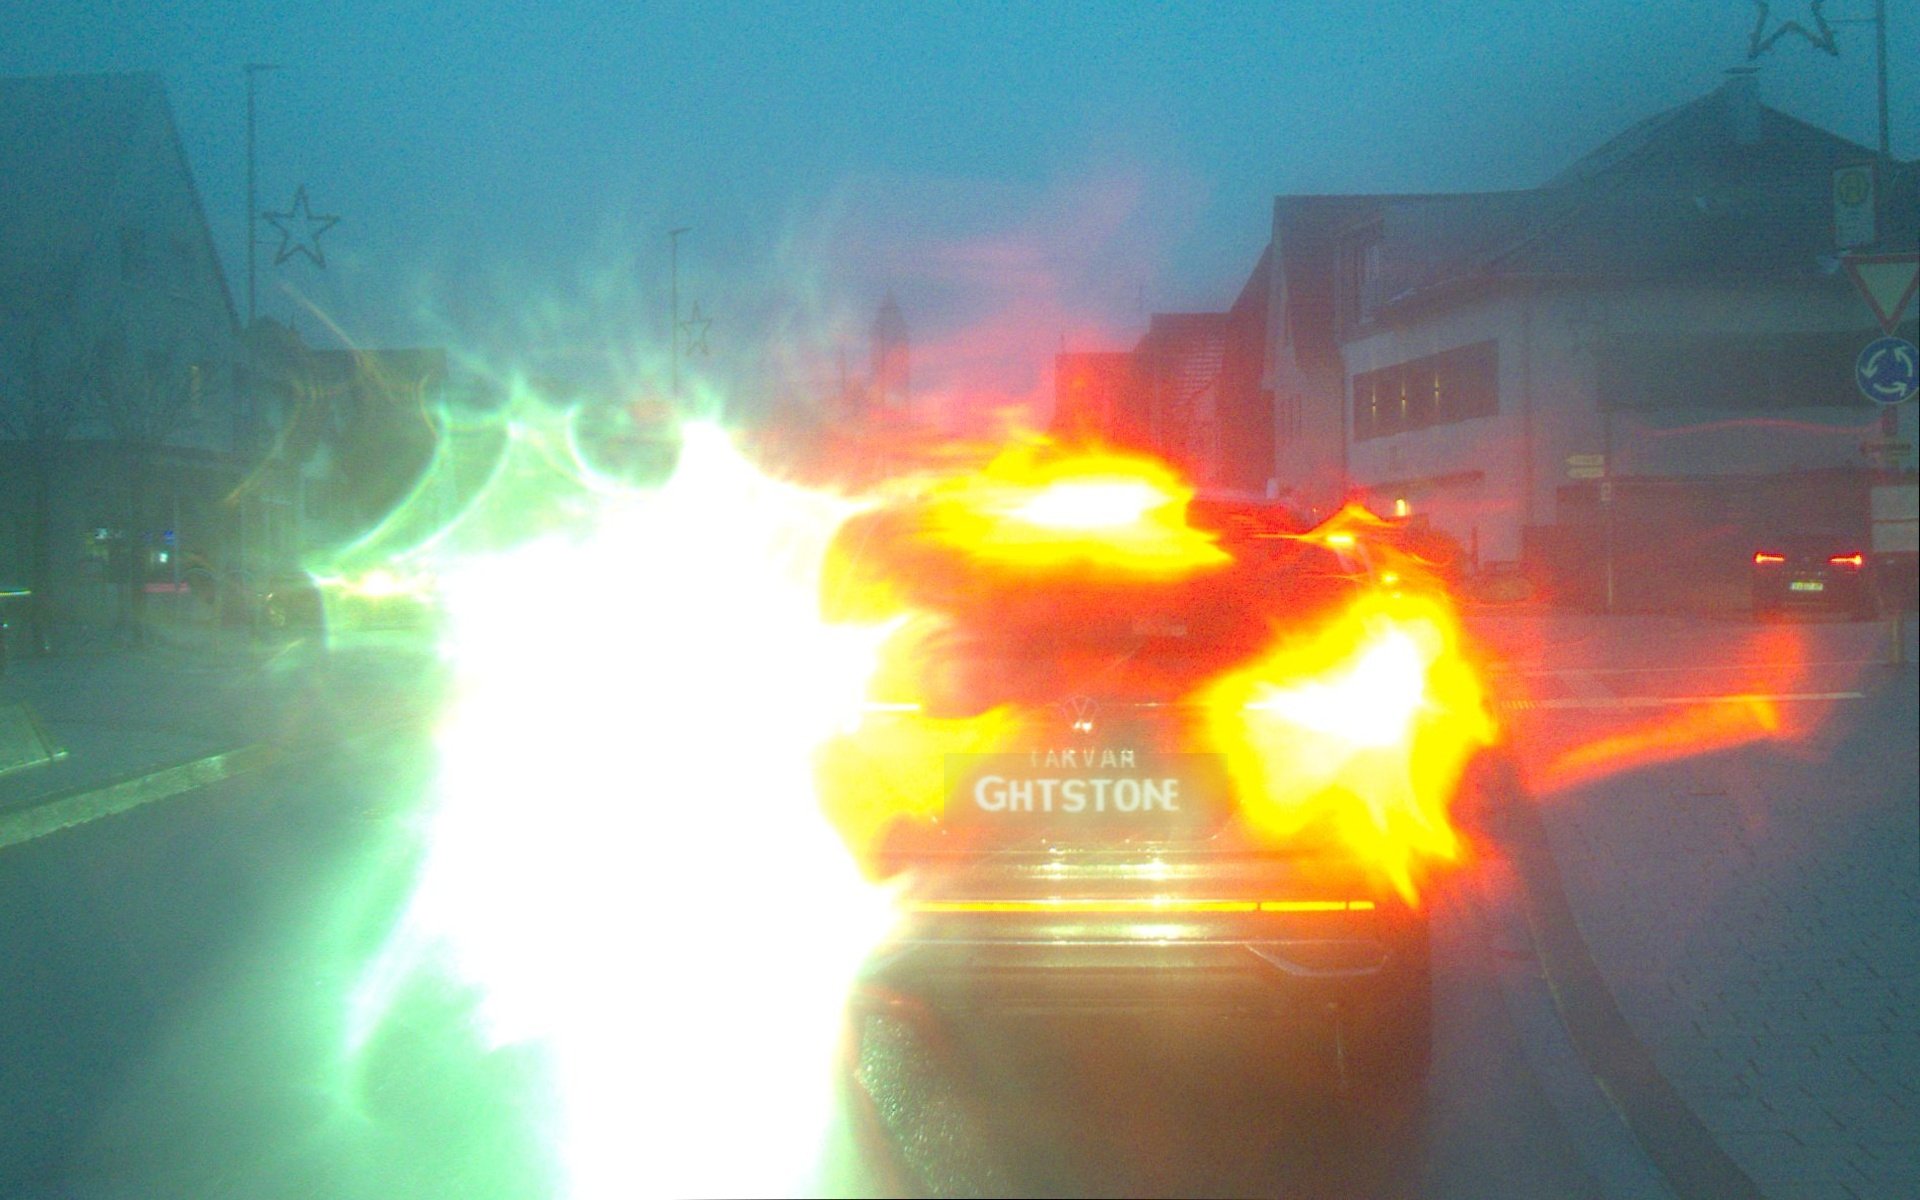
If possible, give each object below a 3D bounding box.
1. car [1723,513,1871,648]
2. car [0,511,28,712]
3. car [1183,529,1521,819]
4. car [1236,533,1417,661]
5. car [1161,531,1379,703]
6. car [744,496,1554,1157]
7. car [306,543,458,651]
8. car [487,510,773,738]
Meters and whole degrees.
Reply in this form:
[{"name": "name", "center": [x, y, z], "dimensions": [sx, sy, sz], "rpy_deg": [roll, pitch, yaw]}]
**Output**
[{"name": "car", "center": [13.801, -0.362, 56.664], "dimensions": [2.159, 1.984, 4.497], "rpy_deg": [-4, 1, 14]}, {"name": "car", "center": [-10.676, 0.106, 34.429], "dimensions": [2.037, 1.919, 4.058], "rpy_deg": [-1, 1, -23]}, {"name": "car", "center": [2.141, 0.341, 19.403], "dimensions": [1.683, 1.448, 4.000], "rpy_deg": [-1, 1, 5]}, {"name": "car", "center": [4.262, -0.074, 40.386], "dimensions": [1.994, 1.387, 4.000], "rpy_deg": [-1, 1, 5]}, {"name": "car", "center": [2.825, 0.103, 30.920], "dimensions": [1.815, 1.407, 3.999], "rpy_deg": [1, 1, 6]}, {"name": "car", "center": [0.623, 0.500, 10.572], "dimensions": [1.964, 1.589, 4.313], "rpy_deg": [1, 1, 5]}, {"name": "car", "center": [-9.899, -0.077, 58.658], "dimensions": [1.993, 1.413, 4.002], "rpy_deg": [-4, 5, -16]}, {"name": "car", "center": [-2.542, 0.134, 27.328], "dimensions": [1.737, 1.647, 4.000], "rpy_deg": [-1, 1, 2]}]
